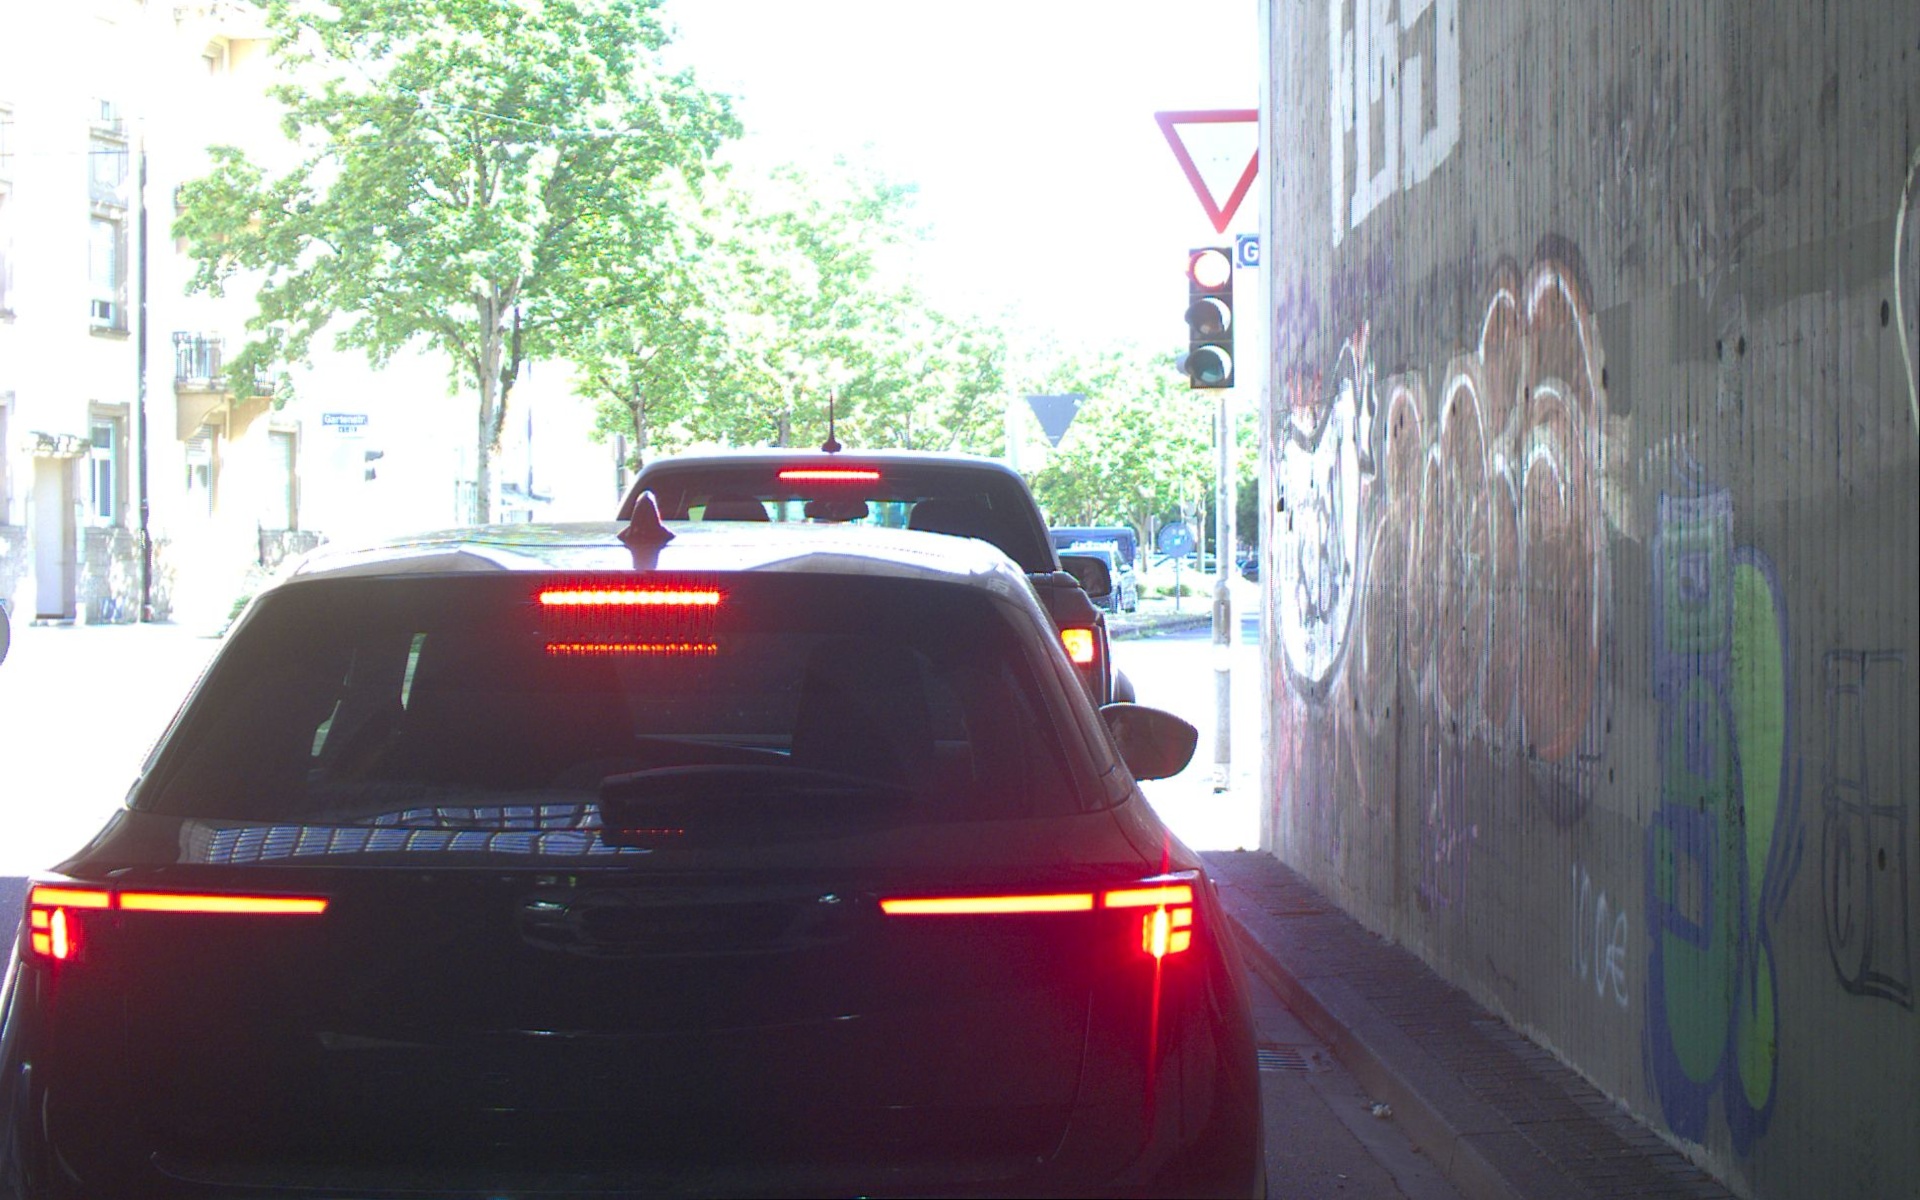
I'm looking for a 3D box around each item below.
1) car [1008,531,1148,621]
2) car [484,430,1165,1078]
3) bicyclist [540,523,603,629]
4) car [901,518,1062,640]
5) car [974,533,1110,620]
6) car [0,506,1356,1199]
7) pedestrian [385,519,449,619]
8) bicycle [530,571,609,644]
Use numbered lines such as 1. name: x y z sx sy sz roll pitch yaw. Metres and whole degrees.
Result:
1. car: 2.407 -0.455 69.005 2.221 1.713 4.458 0 -1 10
2. car: -0.411 0.407 11.892 1.945 1.853 3.964 0 1 -1
3. bicyclist: -5.828 -0.359 51.543 0.729 1.576 0.814 1 0 9
4. car: 0.307 -0.243 44.174 1.968 1.492 3.896 0 -1 1
5. car: 1.520 -0.398 62.195 1.969 1.492 3.895 0 -1 9
6. car: -0.492 0.625 6.071 1.882 1.532 3.964 0 1 -1
7. pedestrian: -10.965 -0.638 69.511 0.992 2.007 1.088 0 1 8
8. bicycle: -5.846 0.097 51.517 0.732 1.064 1.688 1 1 9
